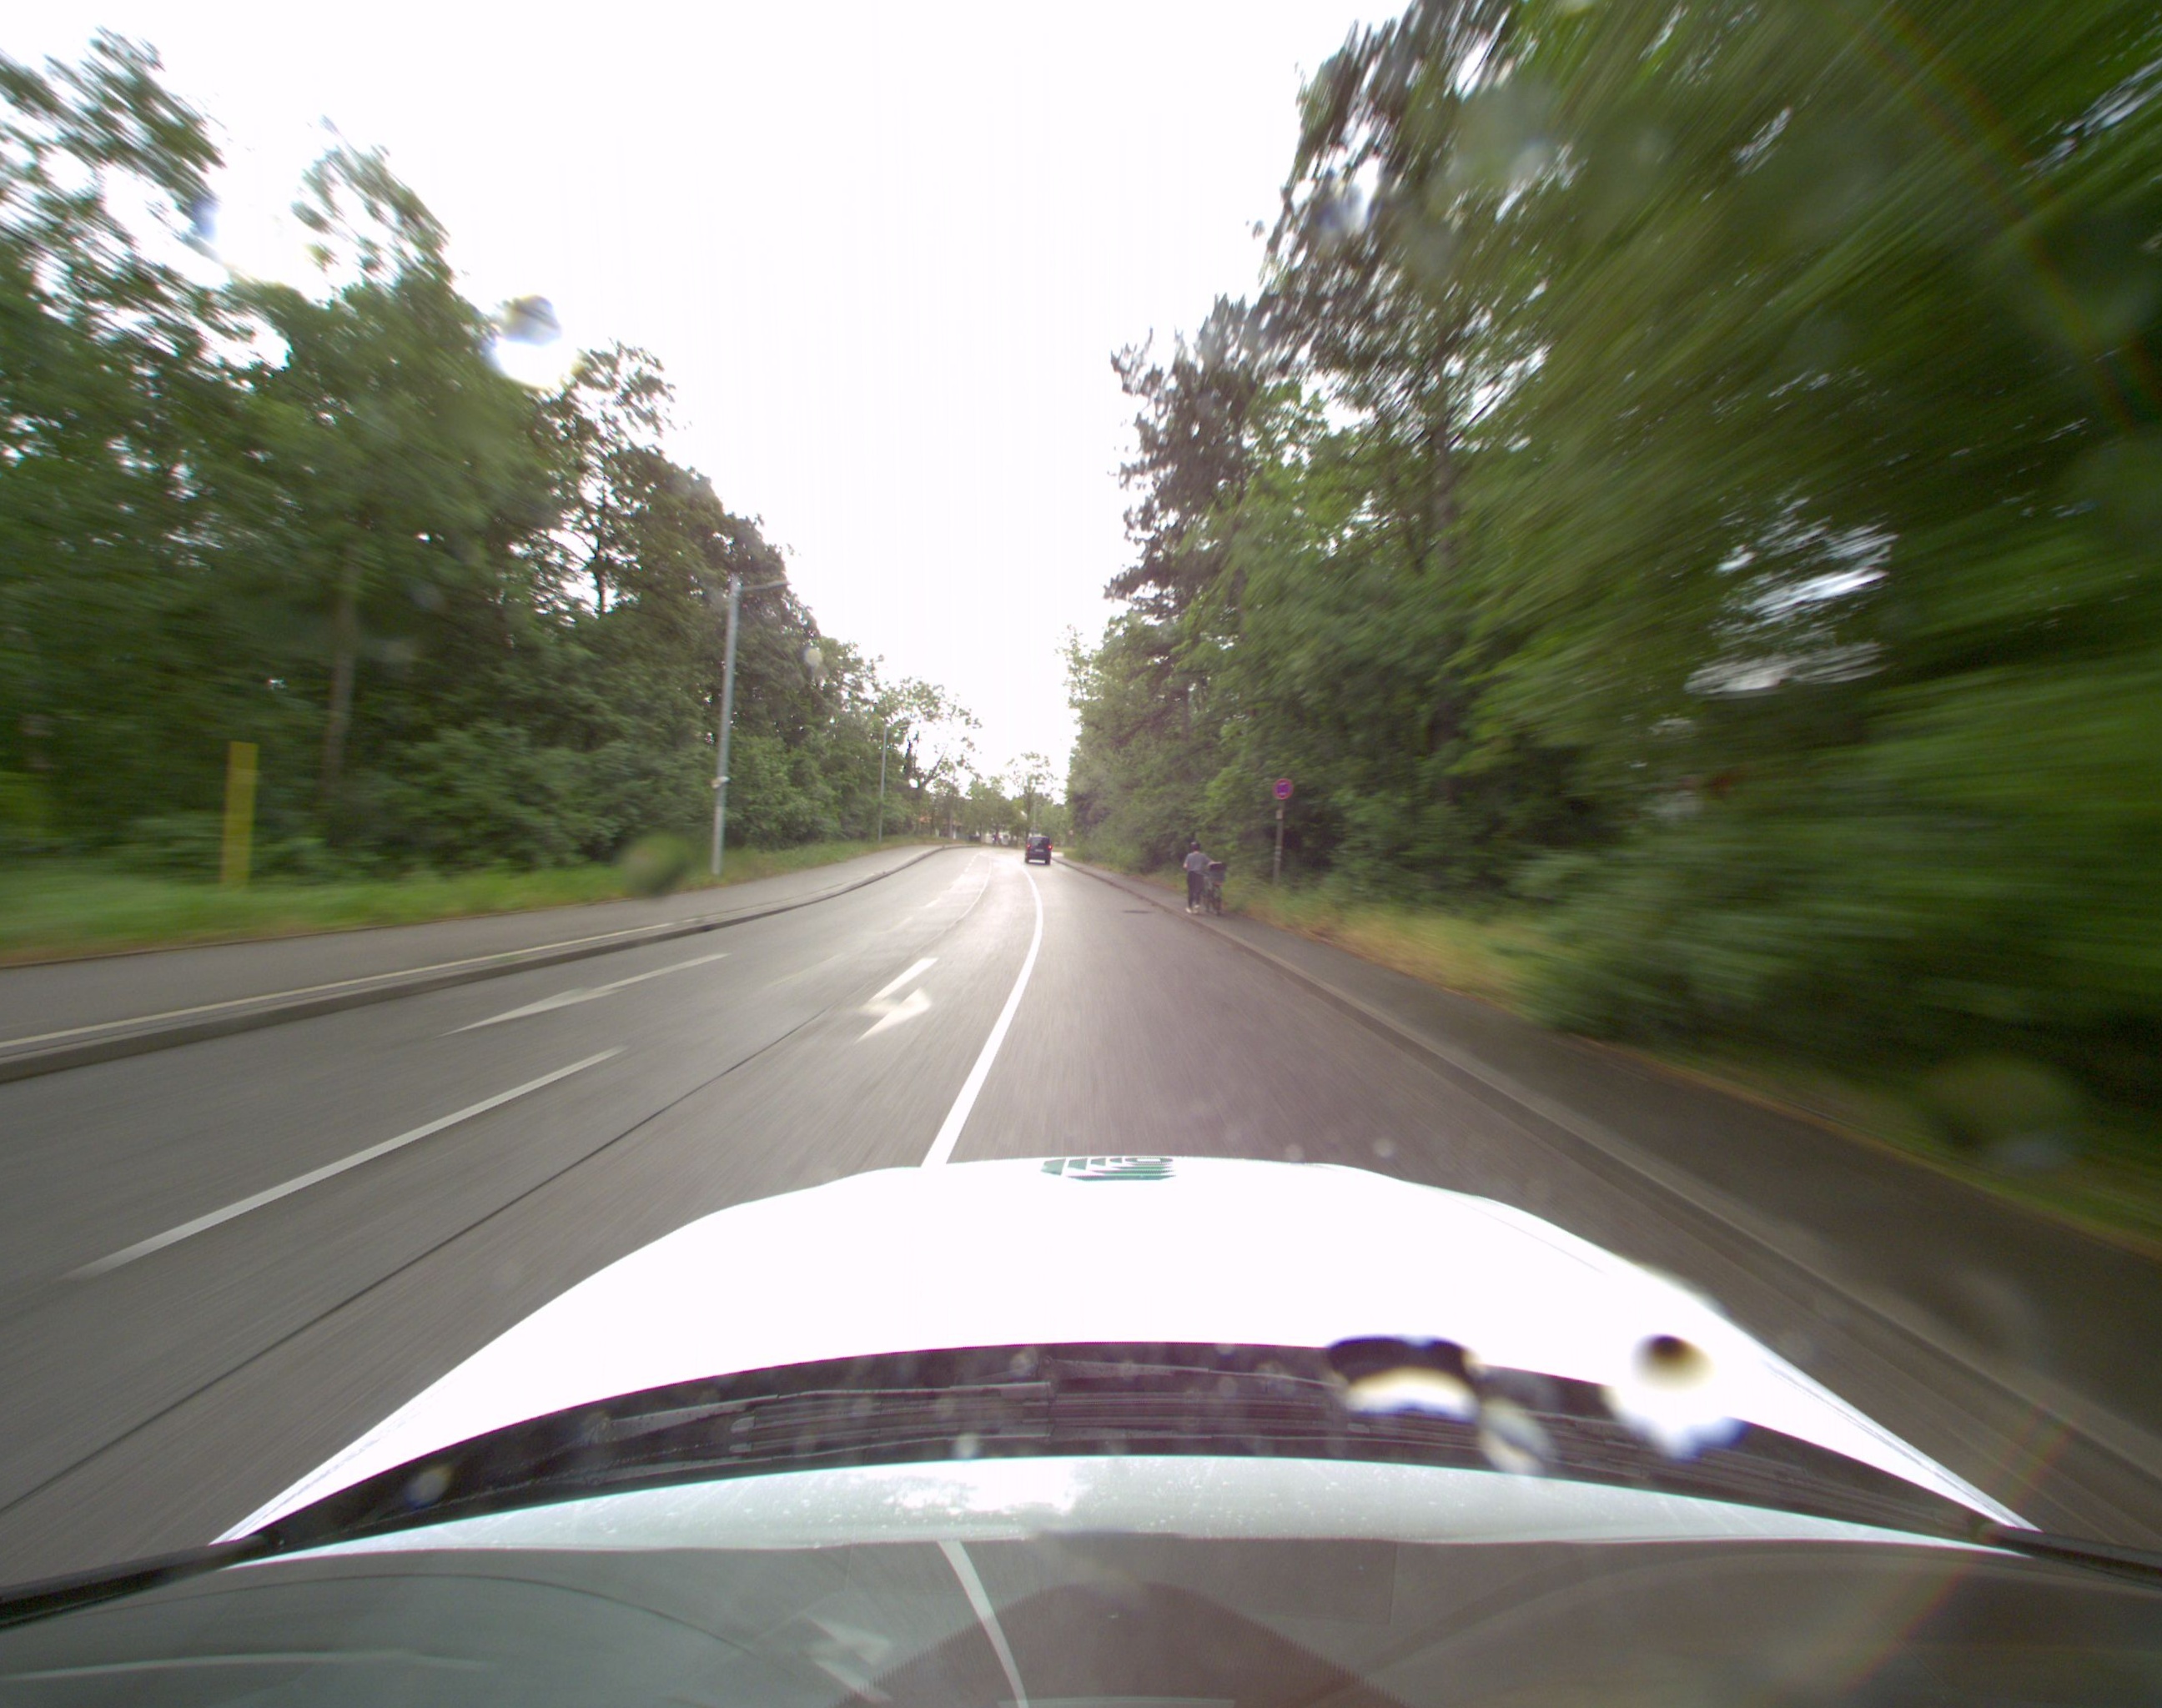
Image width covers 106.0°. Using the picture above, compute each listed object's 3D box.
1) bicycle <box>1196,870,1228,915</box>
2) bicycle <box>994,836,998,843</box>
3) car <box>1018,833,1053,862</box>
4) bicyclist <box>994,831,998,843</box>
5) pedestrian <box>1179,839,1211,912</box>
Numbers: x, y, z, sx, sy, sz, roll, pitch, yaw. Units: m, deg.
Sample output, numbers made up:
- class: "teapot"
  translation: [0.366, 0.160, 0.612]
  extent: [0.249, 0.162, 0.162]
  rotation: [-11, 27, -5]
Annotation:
- class: "bicycle"
  translation: [2.911, 0.838, 18.193]
  extent: [0.355, 0.849, 1.741]
  rotation: [-2, 2, -2]
- class: "bicycle"
  translation: [-10.875, -1.795, 104.052]
  extent: [0.355, 0.849, 2.092]
  rotation: [2, 2, -2]
- class: "car"
  translation: [-3.098, -0.404, 54.690]
  extent: [1.827, 1.794, 3.985]
  rotation: [0, -1, -11]
- class: "bicyclist"
  translation: [-10.868, -2.150, 104.033]
  extent: [0.335, 1.574, 1.296]
  rotation: [2, 1, -3]
- class: "pedestrian"
  translation: [2.538, 0.481, 18.198]
  extent: [0.562, 1.577, 0.769]
  rotation: [0, -2, -3]
